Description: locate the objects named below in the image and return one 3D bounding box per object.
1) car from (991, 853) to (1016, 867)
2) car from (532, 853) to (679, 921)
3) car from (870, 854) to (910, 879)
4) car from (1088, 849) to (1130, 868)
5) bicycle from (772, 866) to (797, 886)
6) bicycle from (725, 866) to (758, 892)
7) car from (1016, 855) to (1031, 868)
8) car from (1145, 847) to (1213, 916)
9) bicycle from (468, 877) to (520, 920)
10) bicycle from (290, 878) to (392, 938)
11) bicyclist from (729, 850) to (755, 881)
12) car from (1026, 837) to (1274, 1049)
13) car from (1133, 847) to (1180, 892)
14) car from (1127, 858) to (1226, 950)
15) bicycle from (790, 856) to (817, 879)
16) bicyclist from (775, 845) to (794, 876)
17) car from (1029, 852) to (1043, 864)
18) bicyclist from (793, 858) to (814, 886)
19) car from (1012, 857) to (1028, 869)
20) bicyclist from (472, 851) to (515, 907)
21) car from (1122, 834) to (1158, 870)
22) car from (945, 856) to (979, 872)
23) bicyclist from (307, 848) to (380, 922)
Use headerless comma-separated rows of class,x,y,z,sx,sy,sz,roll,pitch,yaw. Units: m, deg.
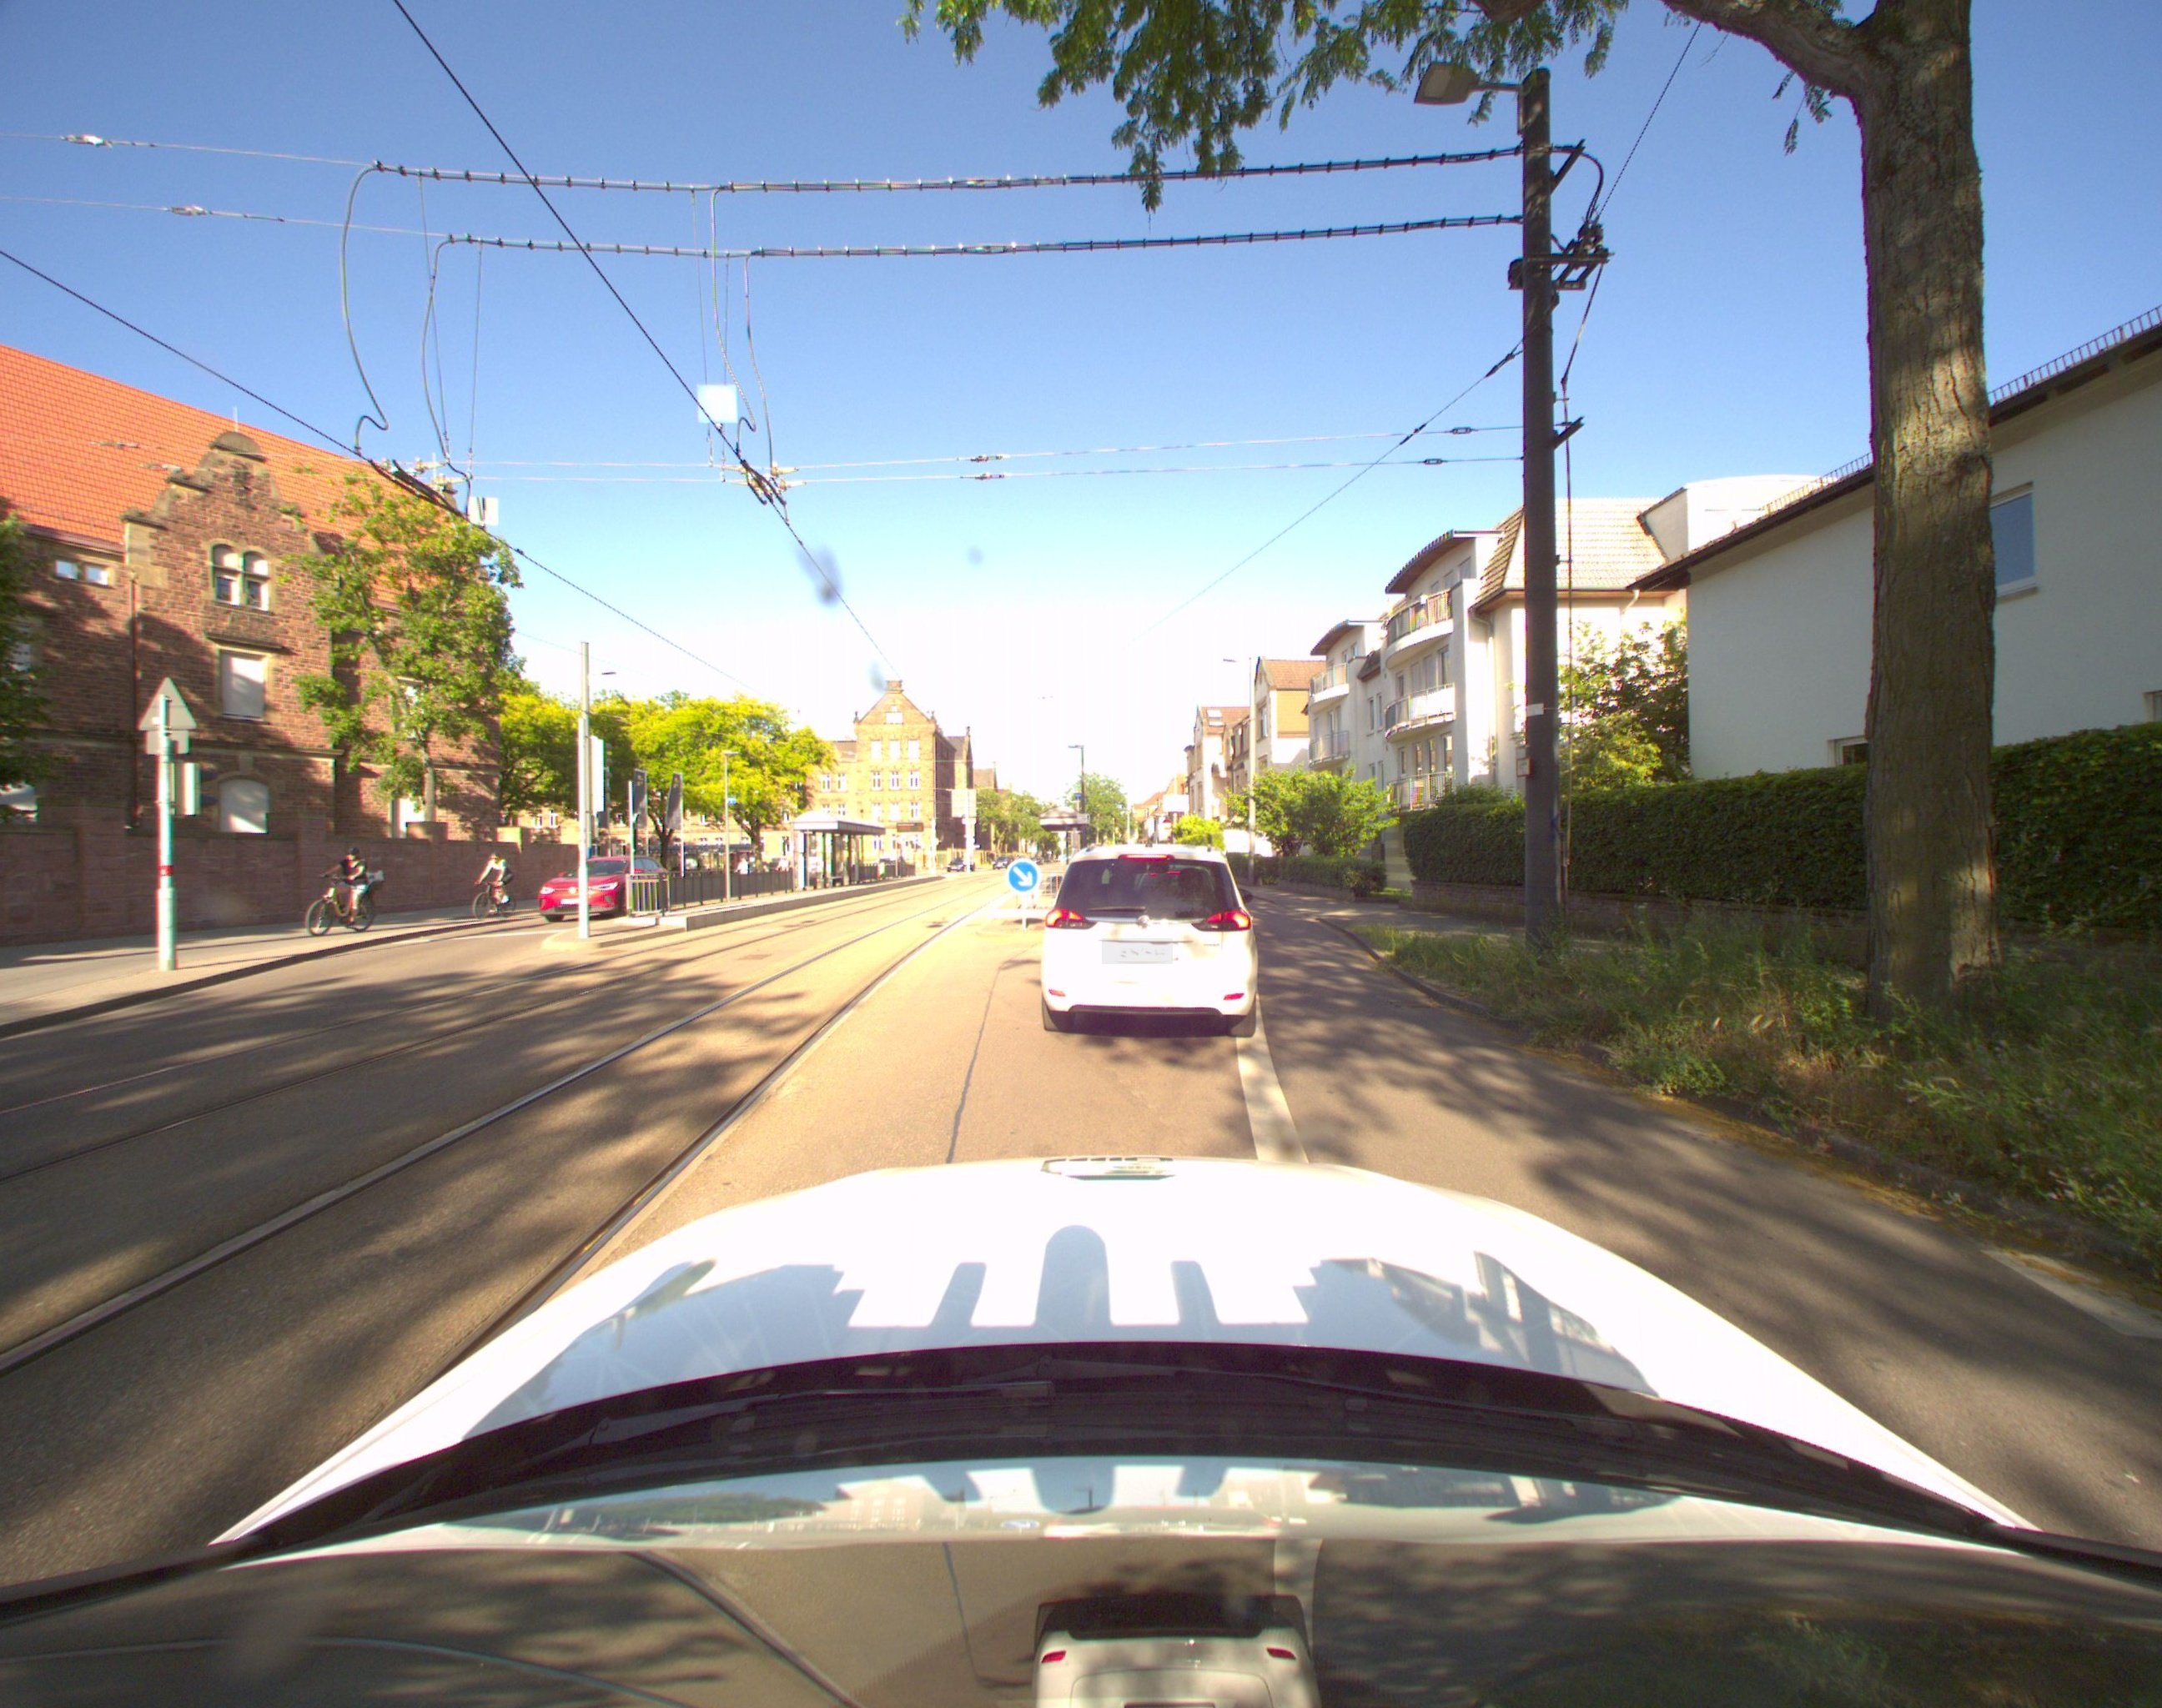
car,-9.051,0.696,95.087,1.816,1.617,4.338,-1,-1,9
car,-12.565,0.809,21.869,1.816,1.607,4.348,-1,0,-7
car,-14.103,0.897,60.317,1.820,1.788,4.256,-1,0,1
car,2.945,0.475,85.554,3.948,2.013,2.013,-1,0,33
bicycle,-16.883,1.244,46.363,0.667,1.072,2.015,0,0,0
bicycle,-16.836,1.221,40.451,0.812,1.198,1.953,0,0,1
car,-8.423,1.093,119.343,1.821,1.788,4.326,-1,-1,0
car,2.555,0.644,21.103,1.560,1.614,3.792,1,0,7
bicycle,-15.746,1.194,21.891,0.687,1.089,1.842,-1,-2,-21
bicycle,-15.124,1.075,16.718,0.686,1.089,2.052,-1,0,-16
bicyclist,-16.831,0.571,40.438,0.754,1.471,1.190,0,-1,1
car,0.769,0.672,8.191,1.868,1.585,4.008,-1,0,7
car,2.934,0.575,32.280,1.590,1.635,3.903,1,0,2
car,1.767,0.803,14.865,1.560,1.401,3.792,1,0,7
bicycle,-15.774,0.760,46.326,0.774,1.231,2.088,-1,0,-1
bicyclist,-16.874,0.355,46.400,0.648,1.674,1.233,1,1,-1
car,-7.738,0.712,139.637,1.985,2.013,4.003,-1,0,3
bicyclist,-15.774,1.005,46.307,0.758,1.536,1.347,-1,0,-1
car,-8.058,1.211,108.059,1.822,1.446,4.324,-1,-1,-2
bicyclist,-15.752,0.658,21.867,0.655,1.459,1.144,-1,0,-21
car,2.896,-0.148,40.312,1.590,1.634,3.903,1,2,2
car,-11.728,0.959,80.448,1.786,1.382,4.510,-1,0,12
bicyclist,-15.137,0.614,16.737,0.654,1.459,1.146,-1,0,-16
